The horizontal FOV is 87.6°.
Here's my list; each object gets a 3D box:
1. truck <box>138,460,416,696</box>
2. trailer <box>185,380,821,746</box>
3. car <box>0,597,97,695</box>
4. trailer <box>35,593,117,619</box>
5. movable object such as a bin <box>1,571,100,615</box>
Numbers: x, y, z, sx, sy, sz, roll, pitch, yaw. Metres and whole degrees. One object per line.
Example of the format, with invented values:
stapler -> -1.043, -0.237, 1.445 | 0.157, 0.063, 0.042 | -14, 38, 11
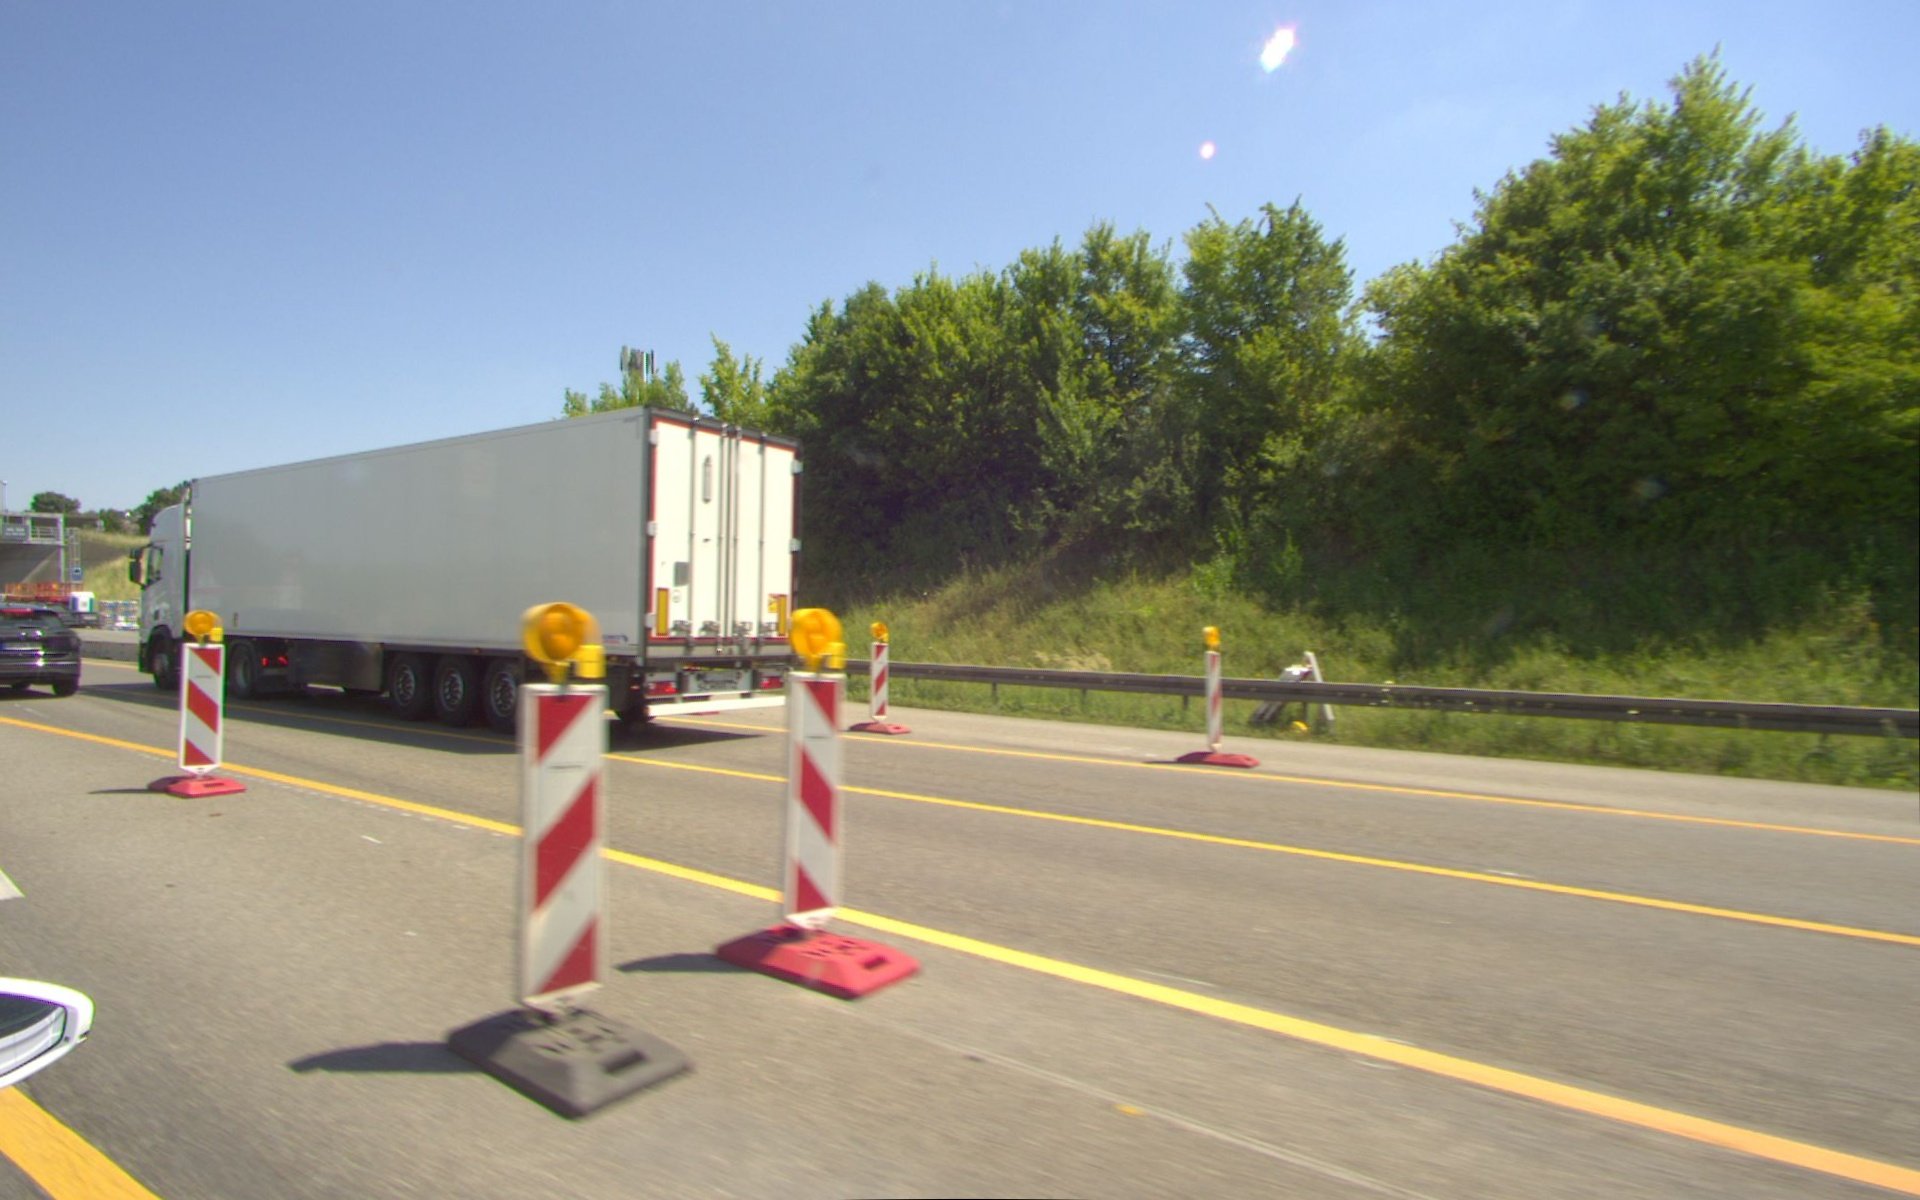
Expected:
truck -> -13.806, -0.347, 20.131 | 5.846, 4.086, 2.737 | 0, 0, 35
trailer -> -8.358, -0.375, 16.348 | 13.902, 4.115, 2.725 | 0, -1, 35
car -> -17.512, 0.779, 18.212 | 4.133, 1.651, 1.810 | 0, -1, 35
trailer -> -58.626, 0.375, 66.372 | 6.149, 1.590, 2.587 | 1, 2, 34
movable object such as a bin -> -69.319, -0.542, 76.127 | 14.515, 3.052, 3.098 | 0, 2, 38
